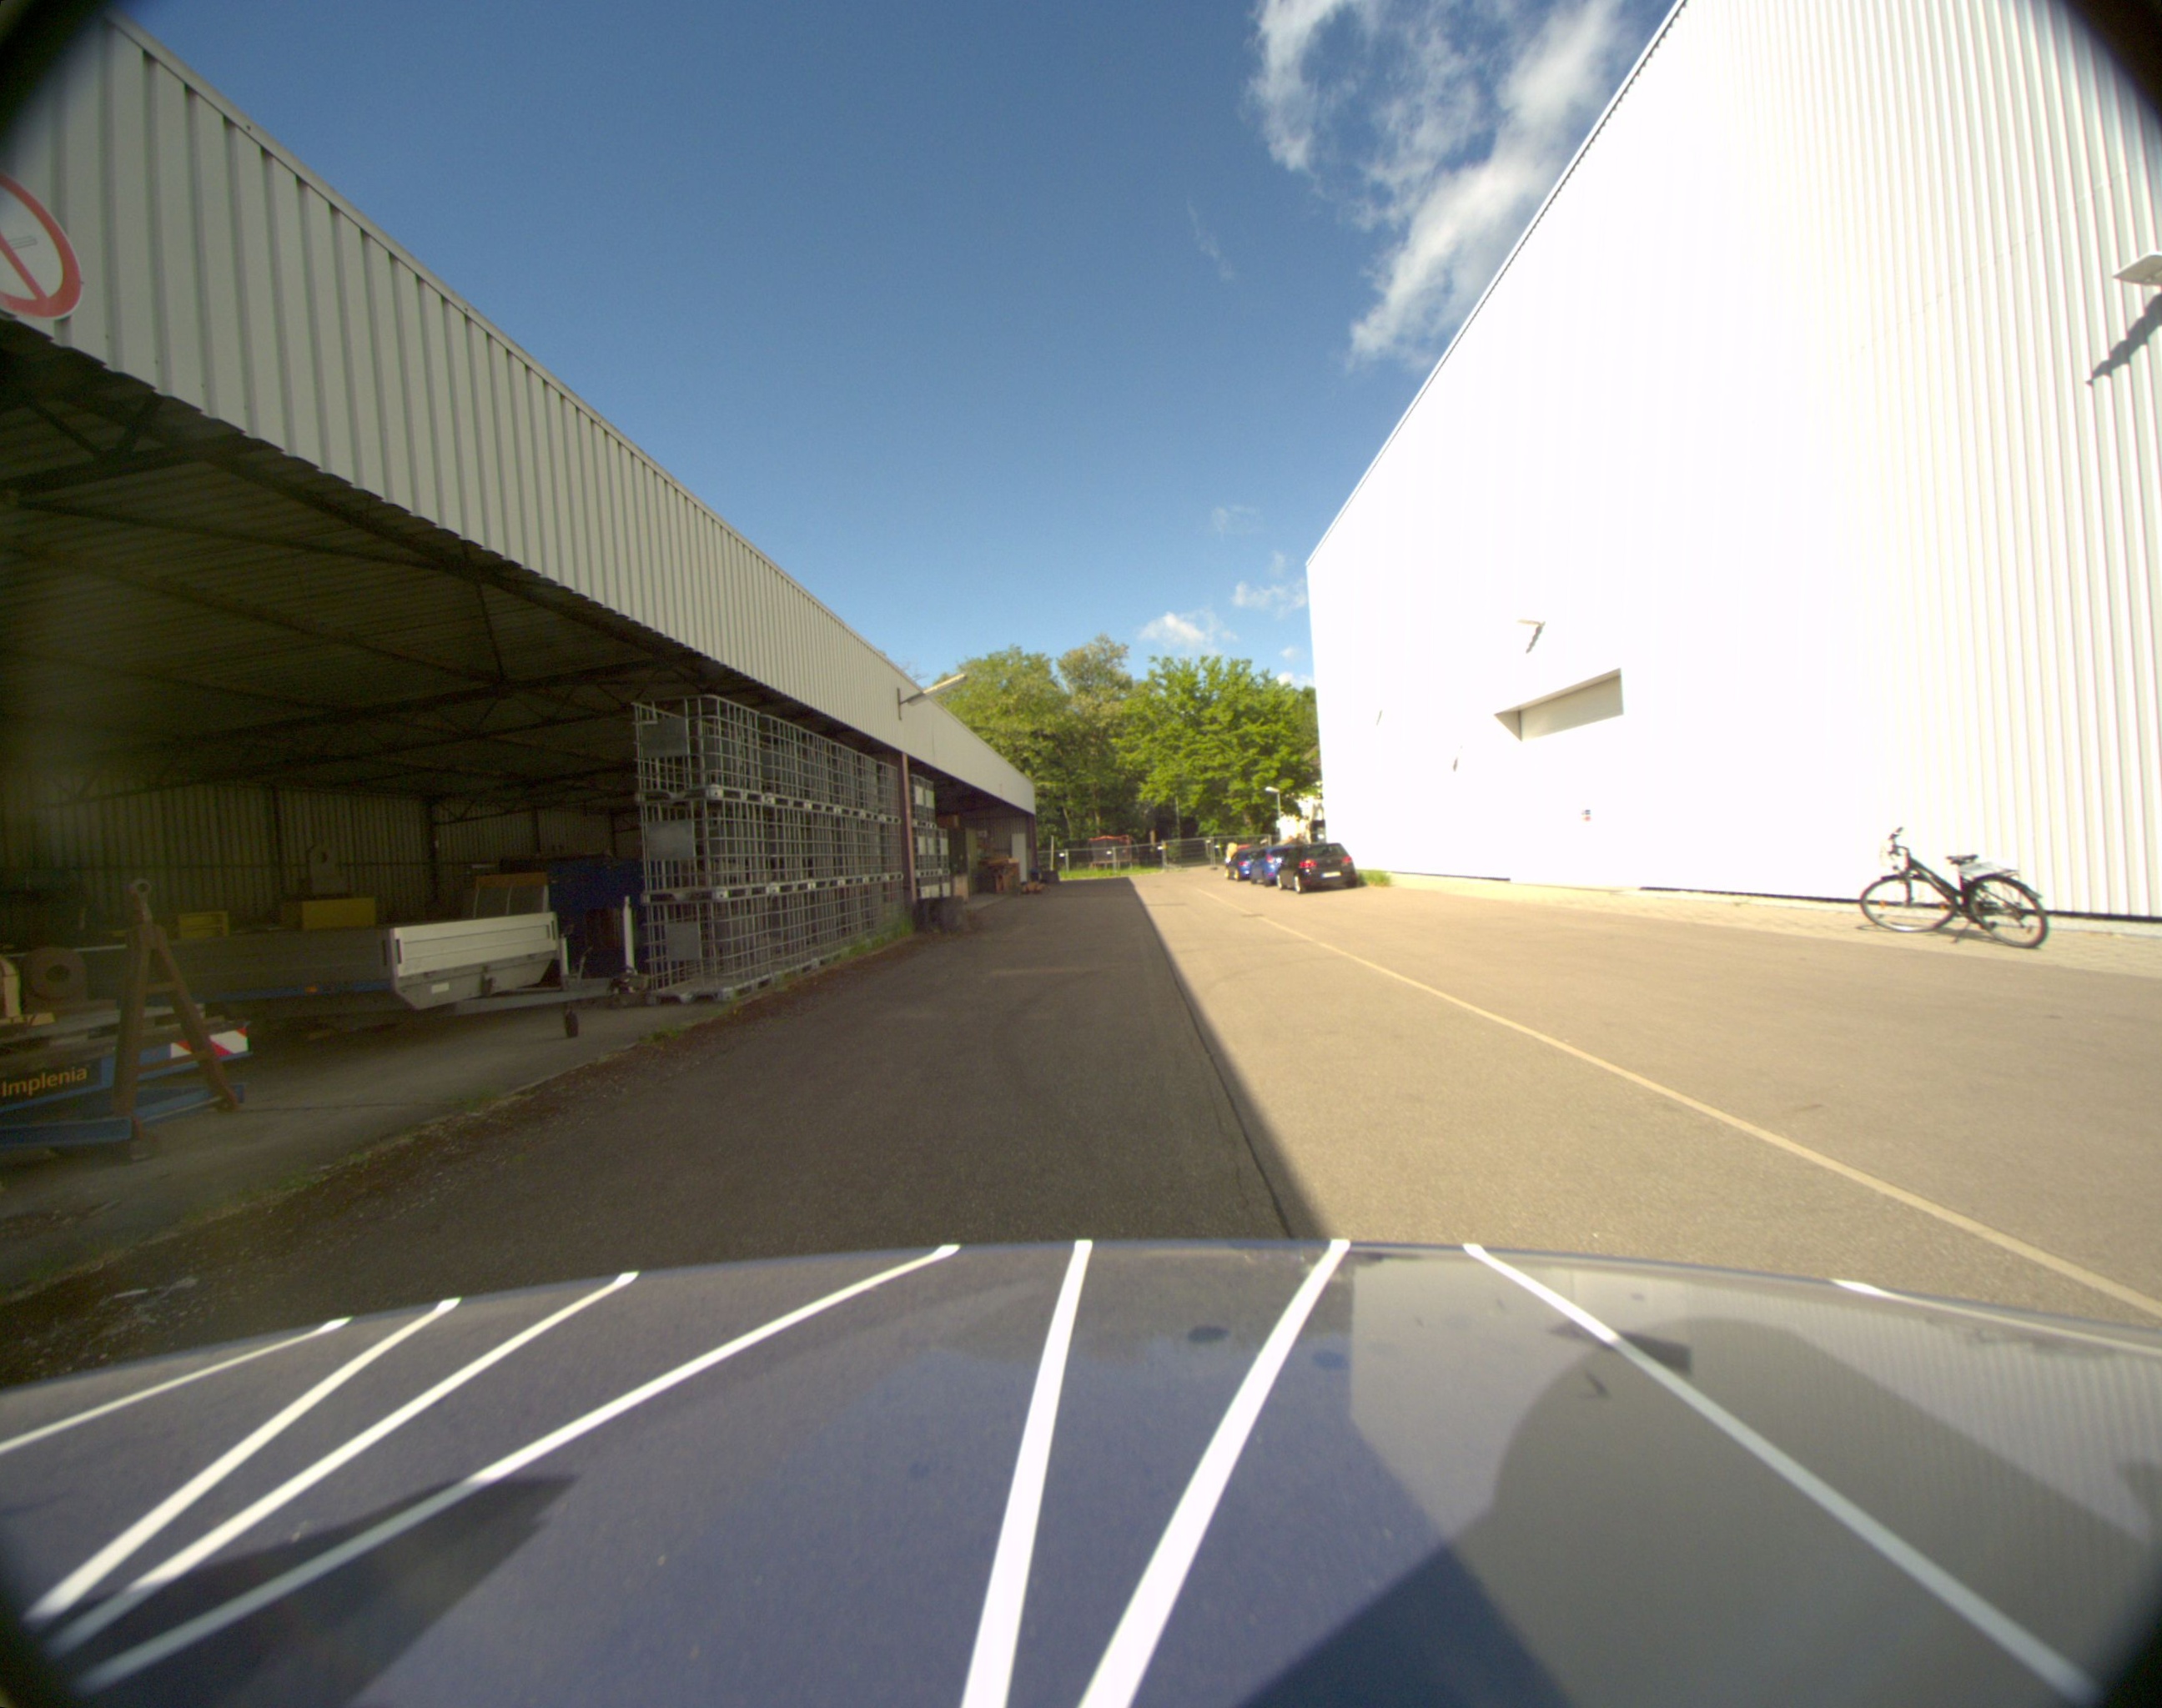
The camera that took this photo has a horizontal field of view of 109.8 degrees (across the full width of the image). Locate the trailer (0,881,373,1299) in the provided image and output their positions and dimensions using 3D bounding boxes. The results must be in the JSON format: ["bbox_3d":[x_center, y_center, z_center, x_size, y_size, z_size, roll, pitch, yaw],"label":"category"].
[{"bbox_3d":[-6.800,1.102,3.646,4.879,1.619,2.029,-3,0,2],"label":"trailer"}]

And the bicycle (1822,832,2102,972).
[{"bbox_3d":[8.673,0.415,7.646,0.909,1.136,1.901,-7,0,18],"label":"bicycle"}]

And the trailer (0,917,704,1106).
[{"bbox_3d":[-6.914,1.364,7.006,5.836,1.113,2.029,-3,0,2],"label":"trailer"}]

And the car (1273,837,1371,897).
[{"bbox_3d":[7.361,0.355,23.643,1.895,1.513,4.001,-7,0,5],"label":"car"}]

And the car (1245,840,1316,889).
[{"bbox_3d":[7.475,0.358,28.895,1.789,1.513,4.001,-7,0,5],"label":"car"}]

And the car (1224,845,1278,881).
[{"bbox_3d":[7.626,0.376,34.397,1.789,1.431,4.001,-3,0,4],"label":"car"}]
